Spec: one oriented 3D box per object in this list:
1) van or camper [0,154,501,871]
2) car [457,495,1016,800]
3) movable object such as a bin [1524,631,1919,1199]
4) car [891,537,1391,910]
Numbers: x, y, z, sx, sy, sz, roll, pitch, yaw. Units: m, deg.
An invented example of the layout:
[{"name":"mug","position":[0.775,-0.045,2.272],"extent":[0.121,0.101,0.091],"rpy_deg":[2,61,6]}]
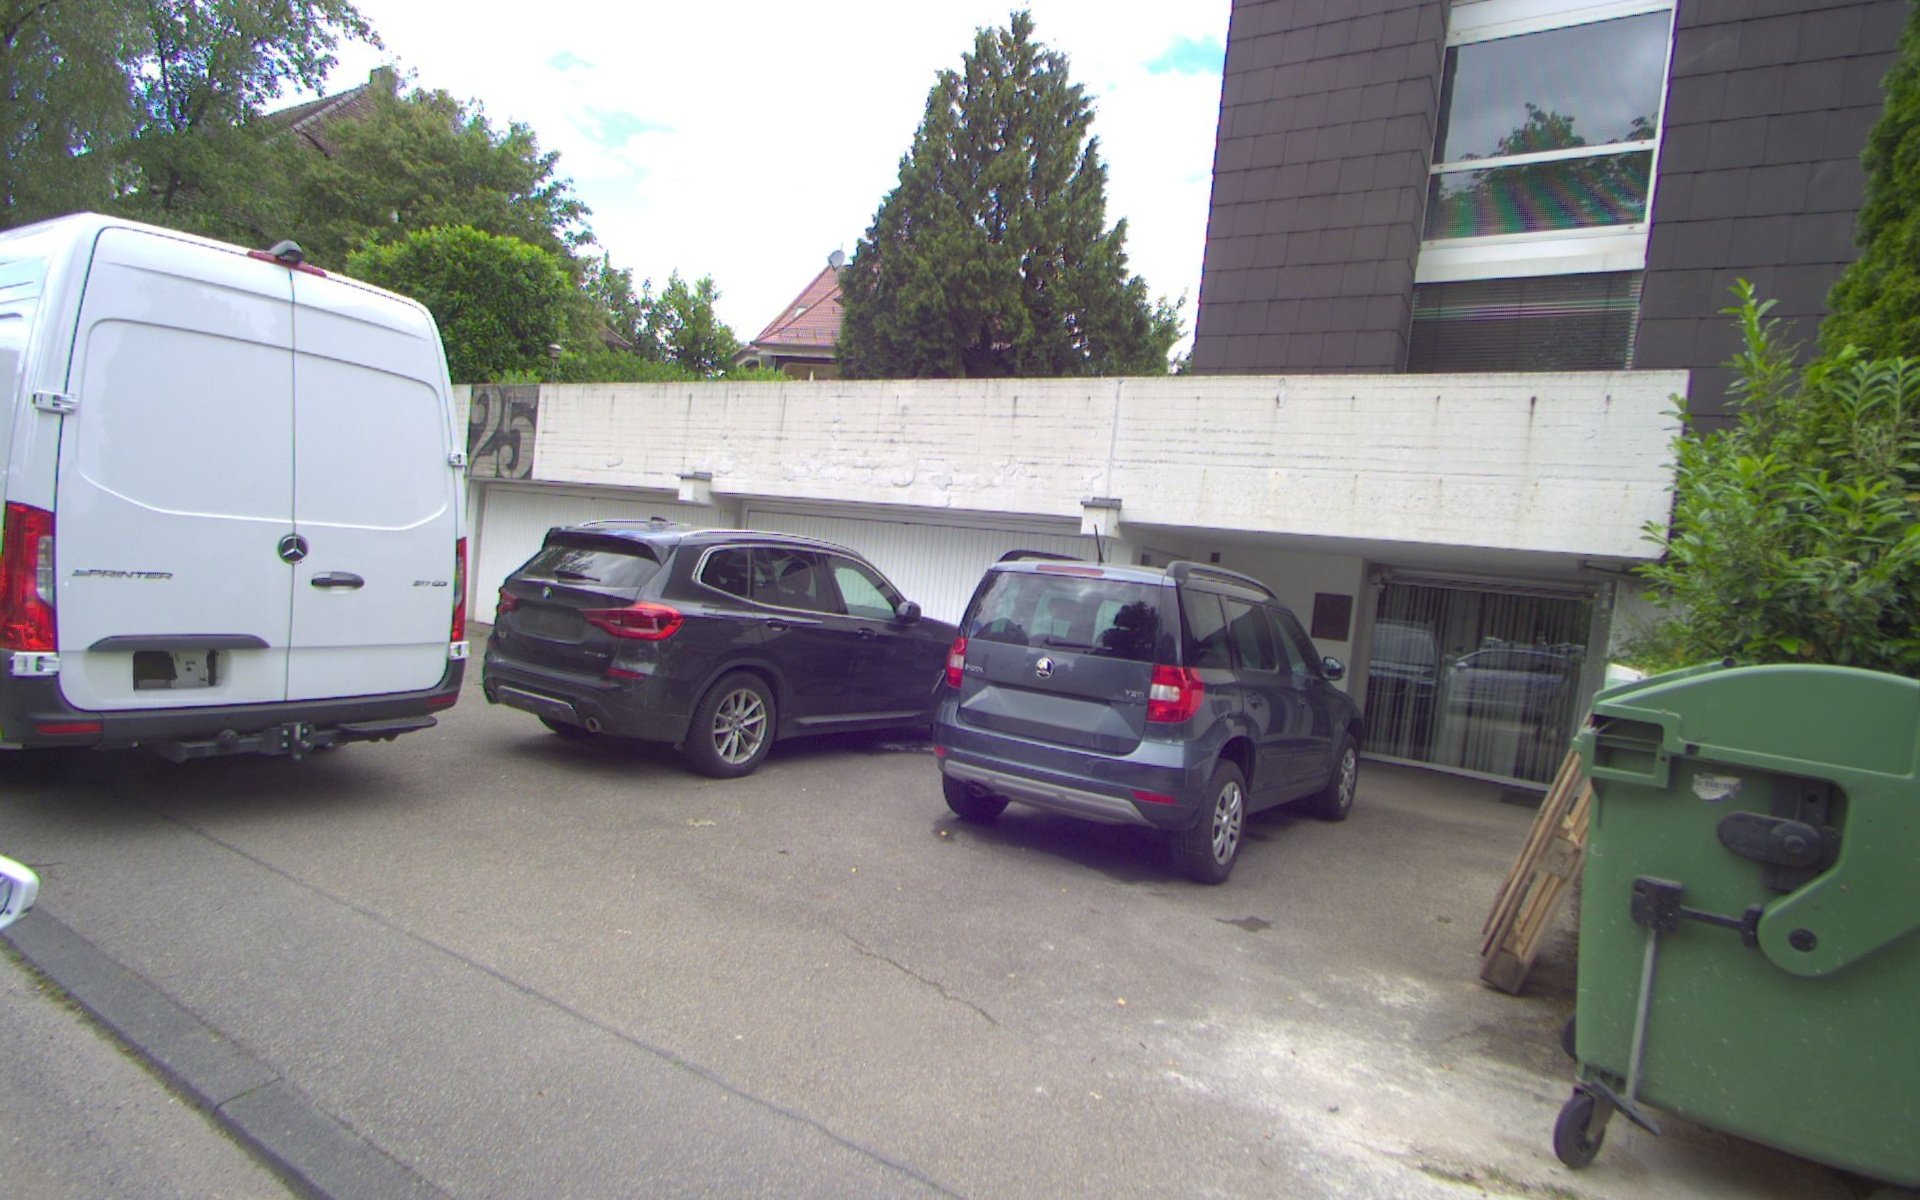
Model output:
[{"name":"van or camper","position":[-5.769,-0.582,6.285],"extent":[6.436,2.662,1.990],"rpy_deg":[6,4,32]},{"name":"car","position":[-1.403,0.321,8.043],"extent":[1.668,1.696,4.383],"rpy_deg":[6,1,32]},{"name":"movable object such as a bin","position":[2.413,0.901,2.984],"extent":[1.098,1.469,1.405],"rpy_deg":[6,1,32]},{"name":"car","position":[1.488,0.642,6.804],"extent":[1.717,1.673,3.899],"rpy_deg":[6,1,35]}]
